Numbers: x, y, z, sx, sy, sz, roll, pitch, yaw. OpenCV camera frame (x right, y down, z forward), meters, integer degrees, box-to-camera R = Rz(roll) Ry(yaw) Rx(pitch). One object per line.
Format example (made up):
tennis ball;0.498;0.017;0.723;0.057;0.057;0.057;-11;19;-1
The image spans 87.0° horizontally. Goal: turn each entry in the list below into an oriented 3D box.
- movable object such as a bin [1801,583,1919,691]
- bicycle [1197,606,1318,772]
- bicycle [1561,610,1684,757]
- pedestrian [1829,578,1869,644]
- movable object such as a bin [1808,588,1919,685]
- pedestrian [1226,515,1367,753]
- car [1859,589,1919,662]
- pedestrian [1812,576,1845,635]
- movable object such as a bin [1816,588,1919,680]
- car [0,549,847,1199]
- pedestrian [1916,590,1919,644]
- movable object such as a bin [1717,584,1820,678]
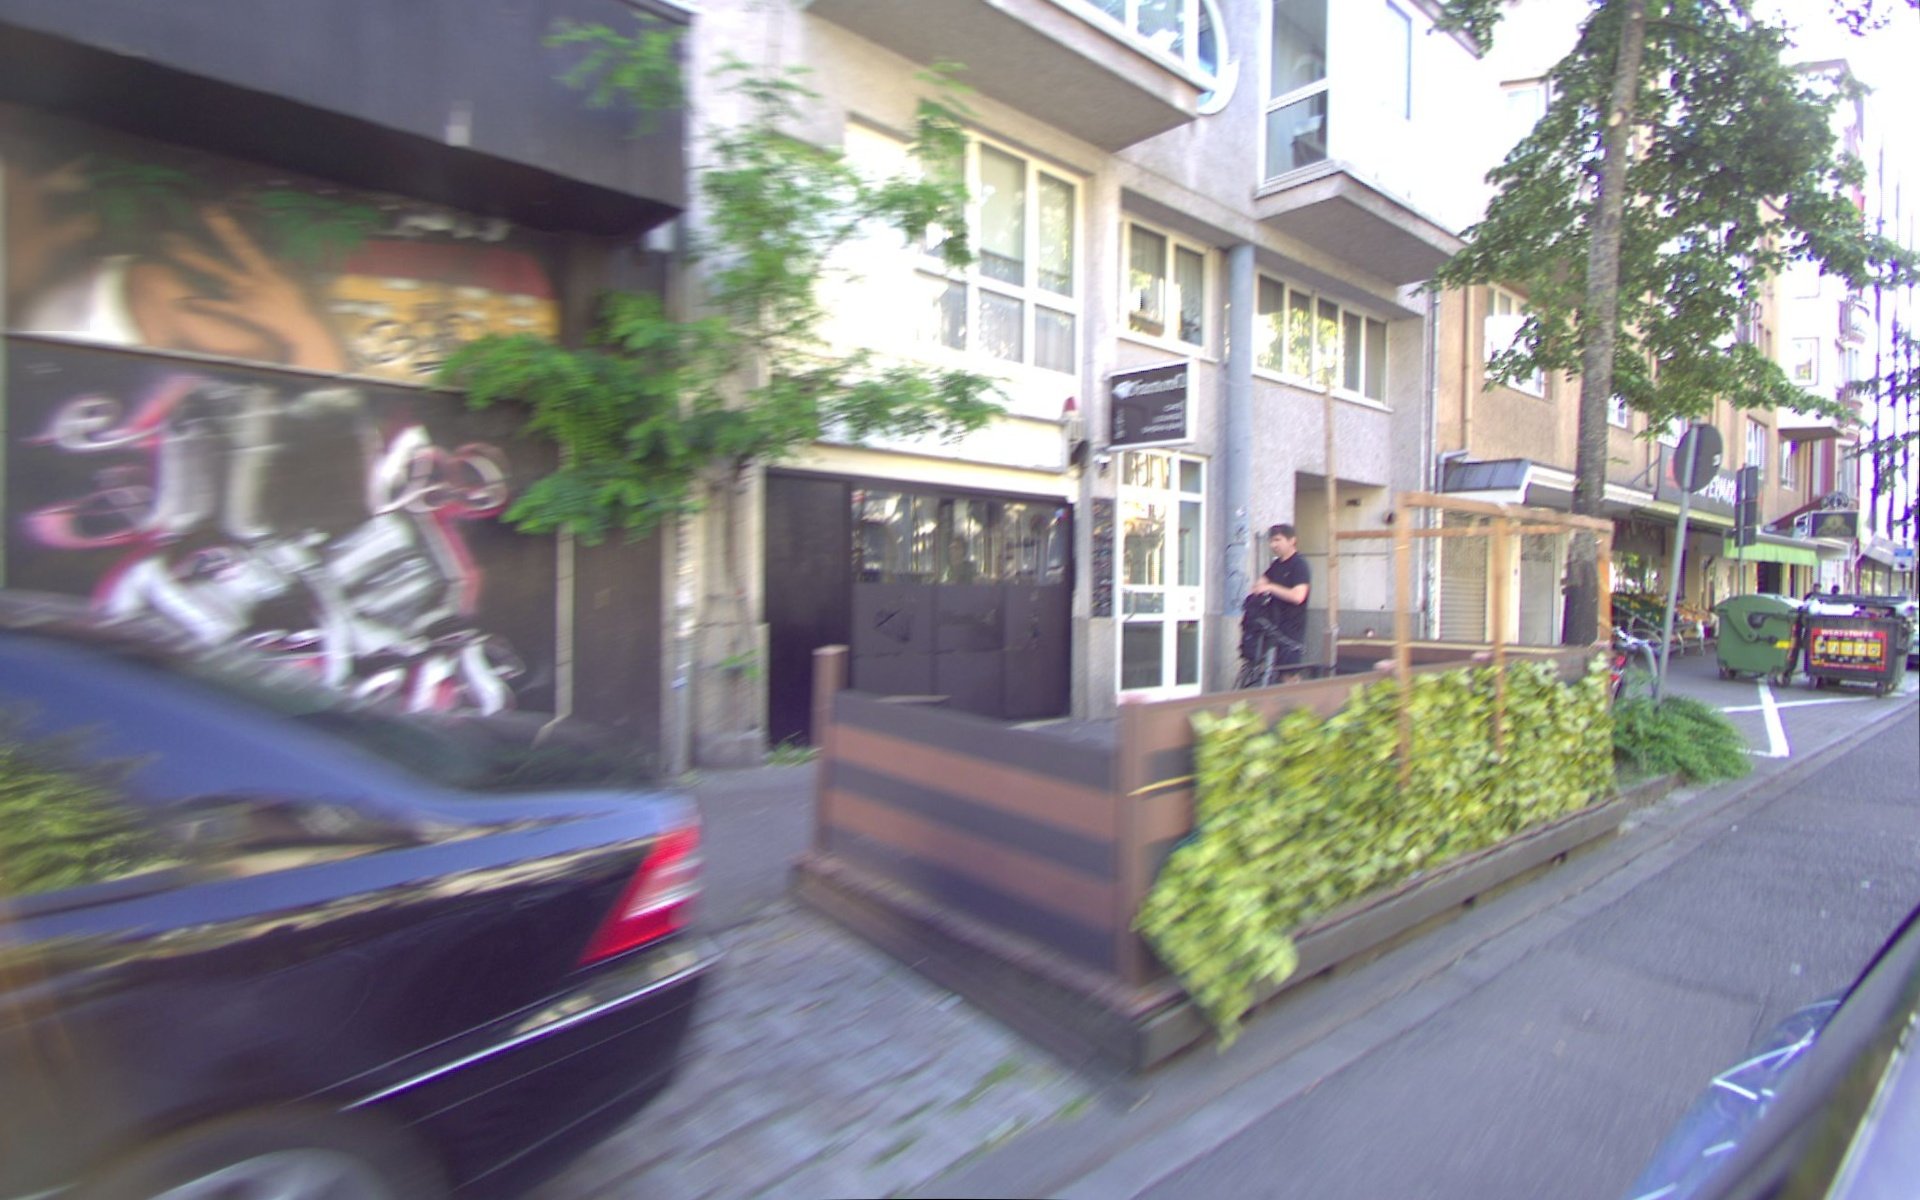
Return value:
movable object such as a bin;14.116;0.537;15.796;1.126;1.562;1.333;0;1;-41
bicycle;2.404;0.664;8.357;0.670;1.163;1.682;1;1;7
bicycle;6.278;0.719;9.537;0.607;1.133;2.026;10;7;39
pedestrian;23.622;0.284;26.901;0.748;1.717;0.618;0;1;-36
movable object such as a bin;14.943;0.566;16.589;1.126;1.472;1.402;0;2;-41
pedestrian;2.930;0.275;8.884;0.745;1.960;0.930;1;1;-16
car;22.061;0.554;22.966;4.826;1.489;1.826;0;4;-41
pedestrian;25.691;0.157;29.944;0.626;1.717;0.497;2;1;35
movable object such as a bin;15.756;0.548;17.398;1.126;1.472;1.402;0;2;-41
car;-2.602;0.633;1.481;4.566;1.429;1.905;0;3;-41
pedestrian;28.163;0.500;29.109;0.753;1.555;0.715;0;1;-26
movable object such as a bin;13.290;0.478;16.639;1.272;1.449;1.079;0;1;-41
